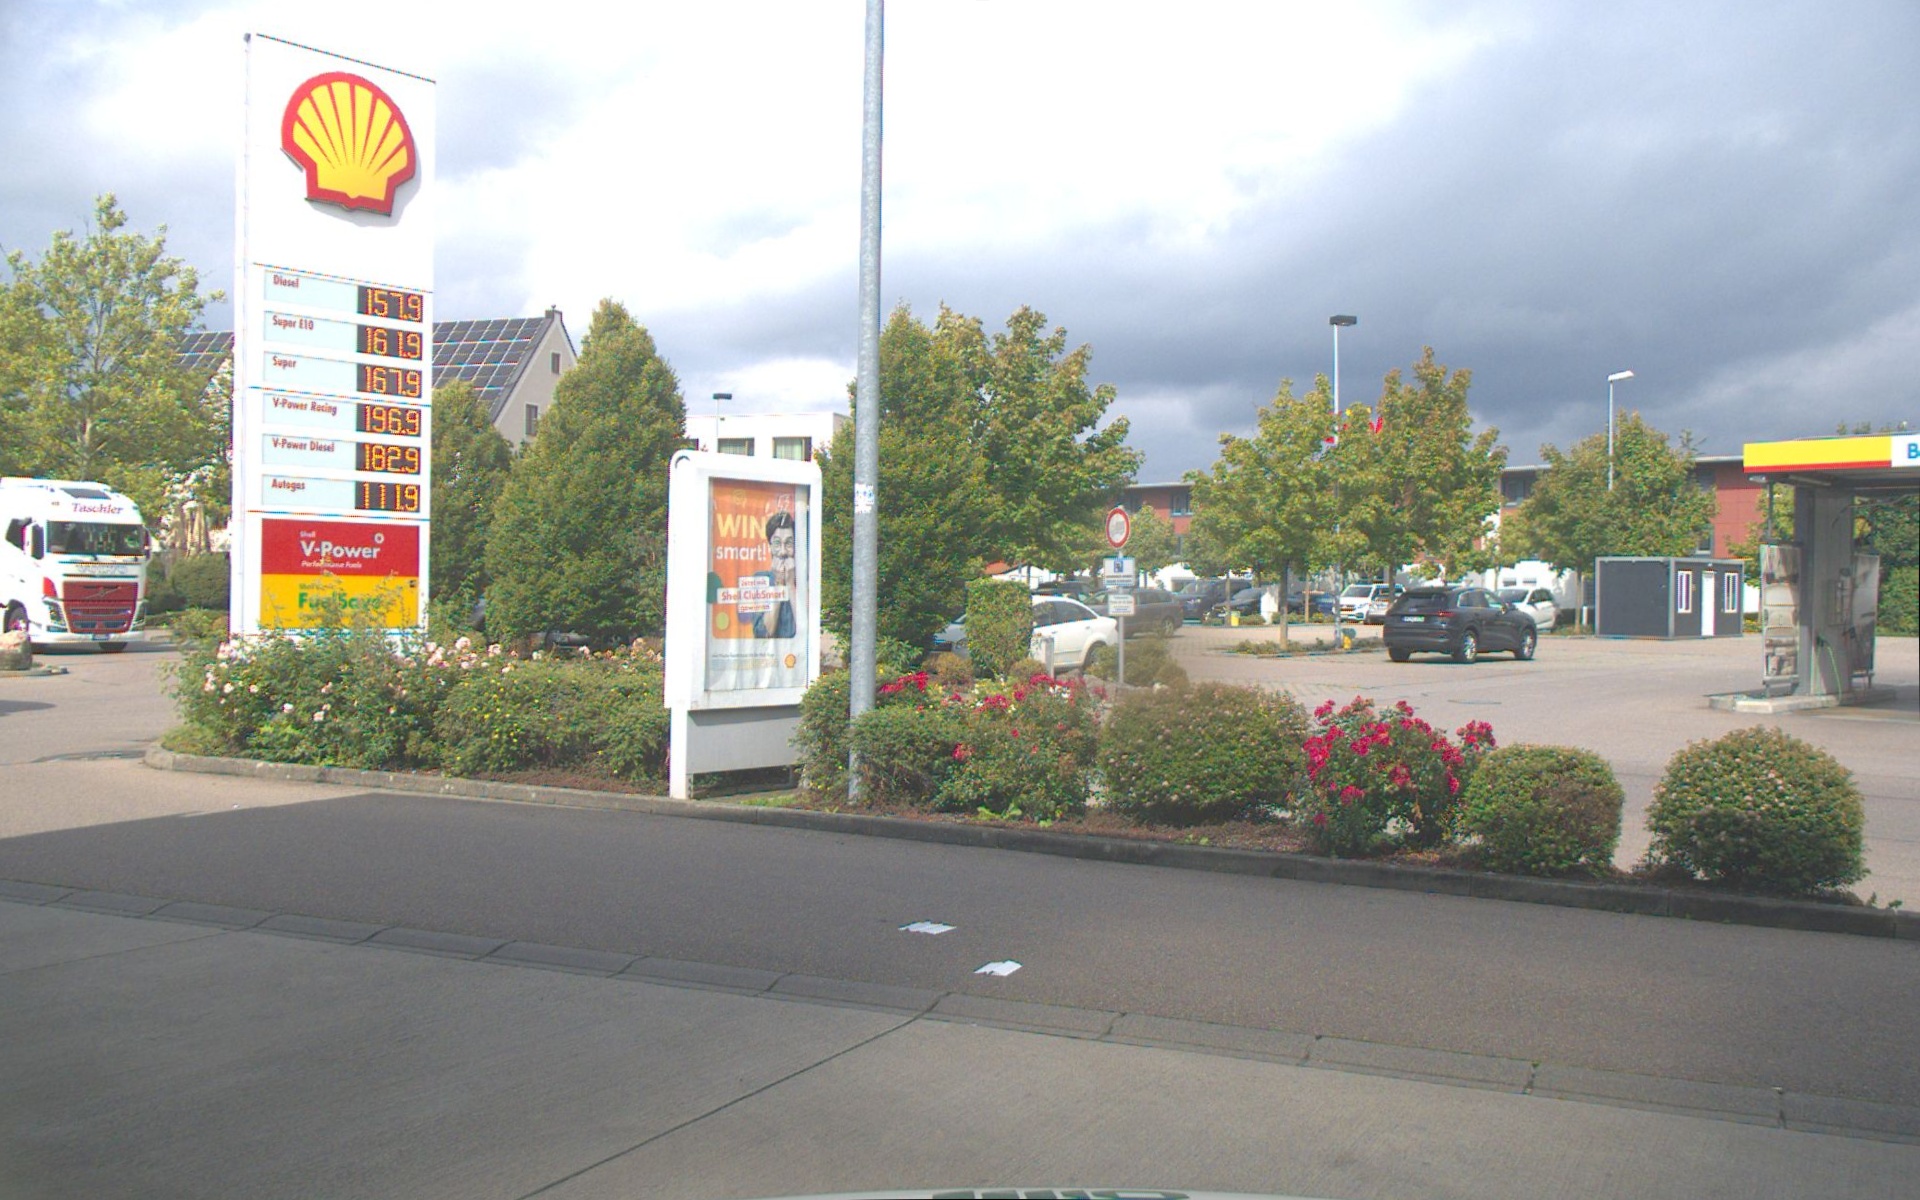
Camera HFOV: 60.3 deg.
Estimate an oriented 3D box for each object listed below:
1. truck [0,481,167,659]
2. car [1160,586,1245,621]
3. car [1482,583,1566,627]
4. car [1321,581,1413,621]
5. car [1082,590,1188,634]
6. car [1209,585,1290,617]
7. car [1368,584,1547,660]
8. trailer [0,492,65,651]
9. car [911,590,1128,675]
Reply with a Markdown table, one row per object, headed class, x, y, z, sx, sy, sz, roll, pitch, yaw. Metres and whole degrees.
| class | x | y | z | sx | sy | sz | roll | pitch | yaw |
| --- | --- | --- | --- | --- | --- | --- | --- | --- | --- |
| truck | -21.743 | -0.674 | 39.155 | 5.796 | 3.913 | 2.733 | 1 | 0 | 34 |
| car | 9.826 | 0.146 | 66.937 | 3.364 | 1.343 | 1.719 | 1 | 0 | -45 |
| car | 18.022 | 0.172 | 52.811 | 3.080 | 1.330 | 1.346 | 1 | -1 | -45 |
| car | 19.931 | 0.038 | 80.950 | 4.839 | 1.865 | 2.150 | 1 | 0 | -44 |
| car | 5.292 | 0.368 | 49.798 | 3.203 | 1.249 | 1.481 | 1 | 0 | -45 |
| car | 11.428 | 0.043 | 65.215 | 3.393 | 1.199 | 1.462 | 1 | 0 | -45 |
| car | 11.143 | 0.488 | 36.898 | 4.467 | 1.575 | 1.856 | 1 | 0 | -44 |
| trailer | -28.239 | -0.766 | 43.534 | 12.449 | 3.842 | 2.731 | 1 | 0 | 34 |
| car | 1.145 | 0.578 | 29.942 | 1.348 | 1.428 | 4.312 | 1 | -1 | 45 |
